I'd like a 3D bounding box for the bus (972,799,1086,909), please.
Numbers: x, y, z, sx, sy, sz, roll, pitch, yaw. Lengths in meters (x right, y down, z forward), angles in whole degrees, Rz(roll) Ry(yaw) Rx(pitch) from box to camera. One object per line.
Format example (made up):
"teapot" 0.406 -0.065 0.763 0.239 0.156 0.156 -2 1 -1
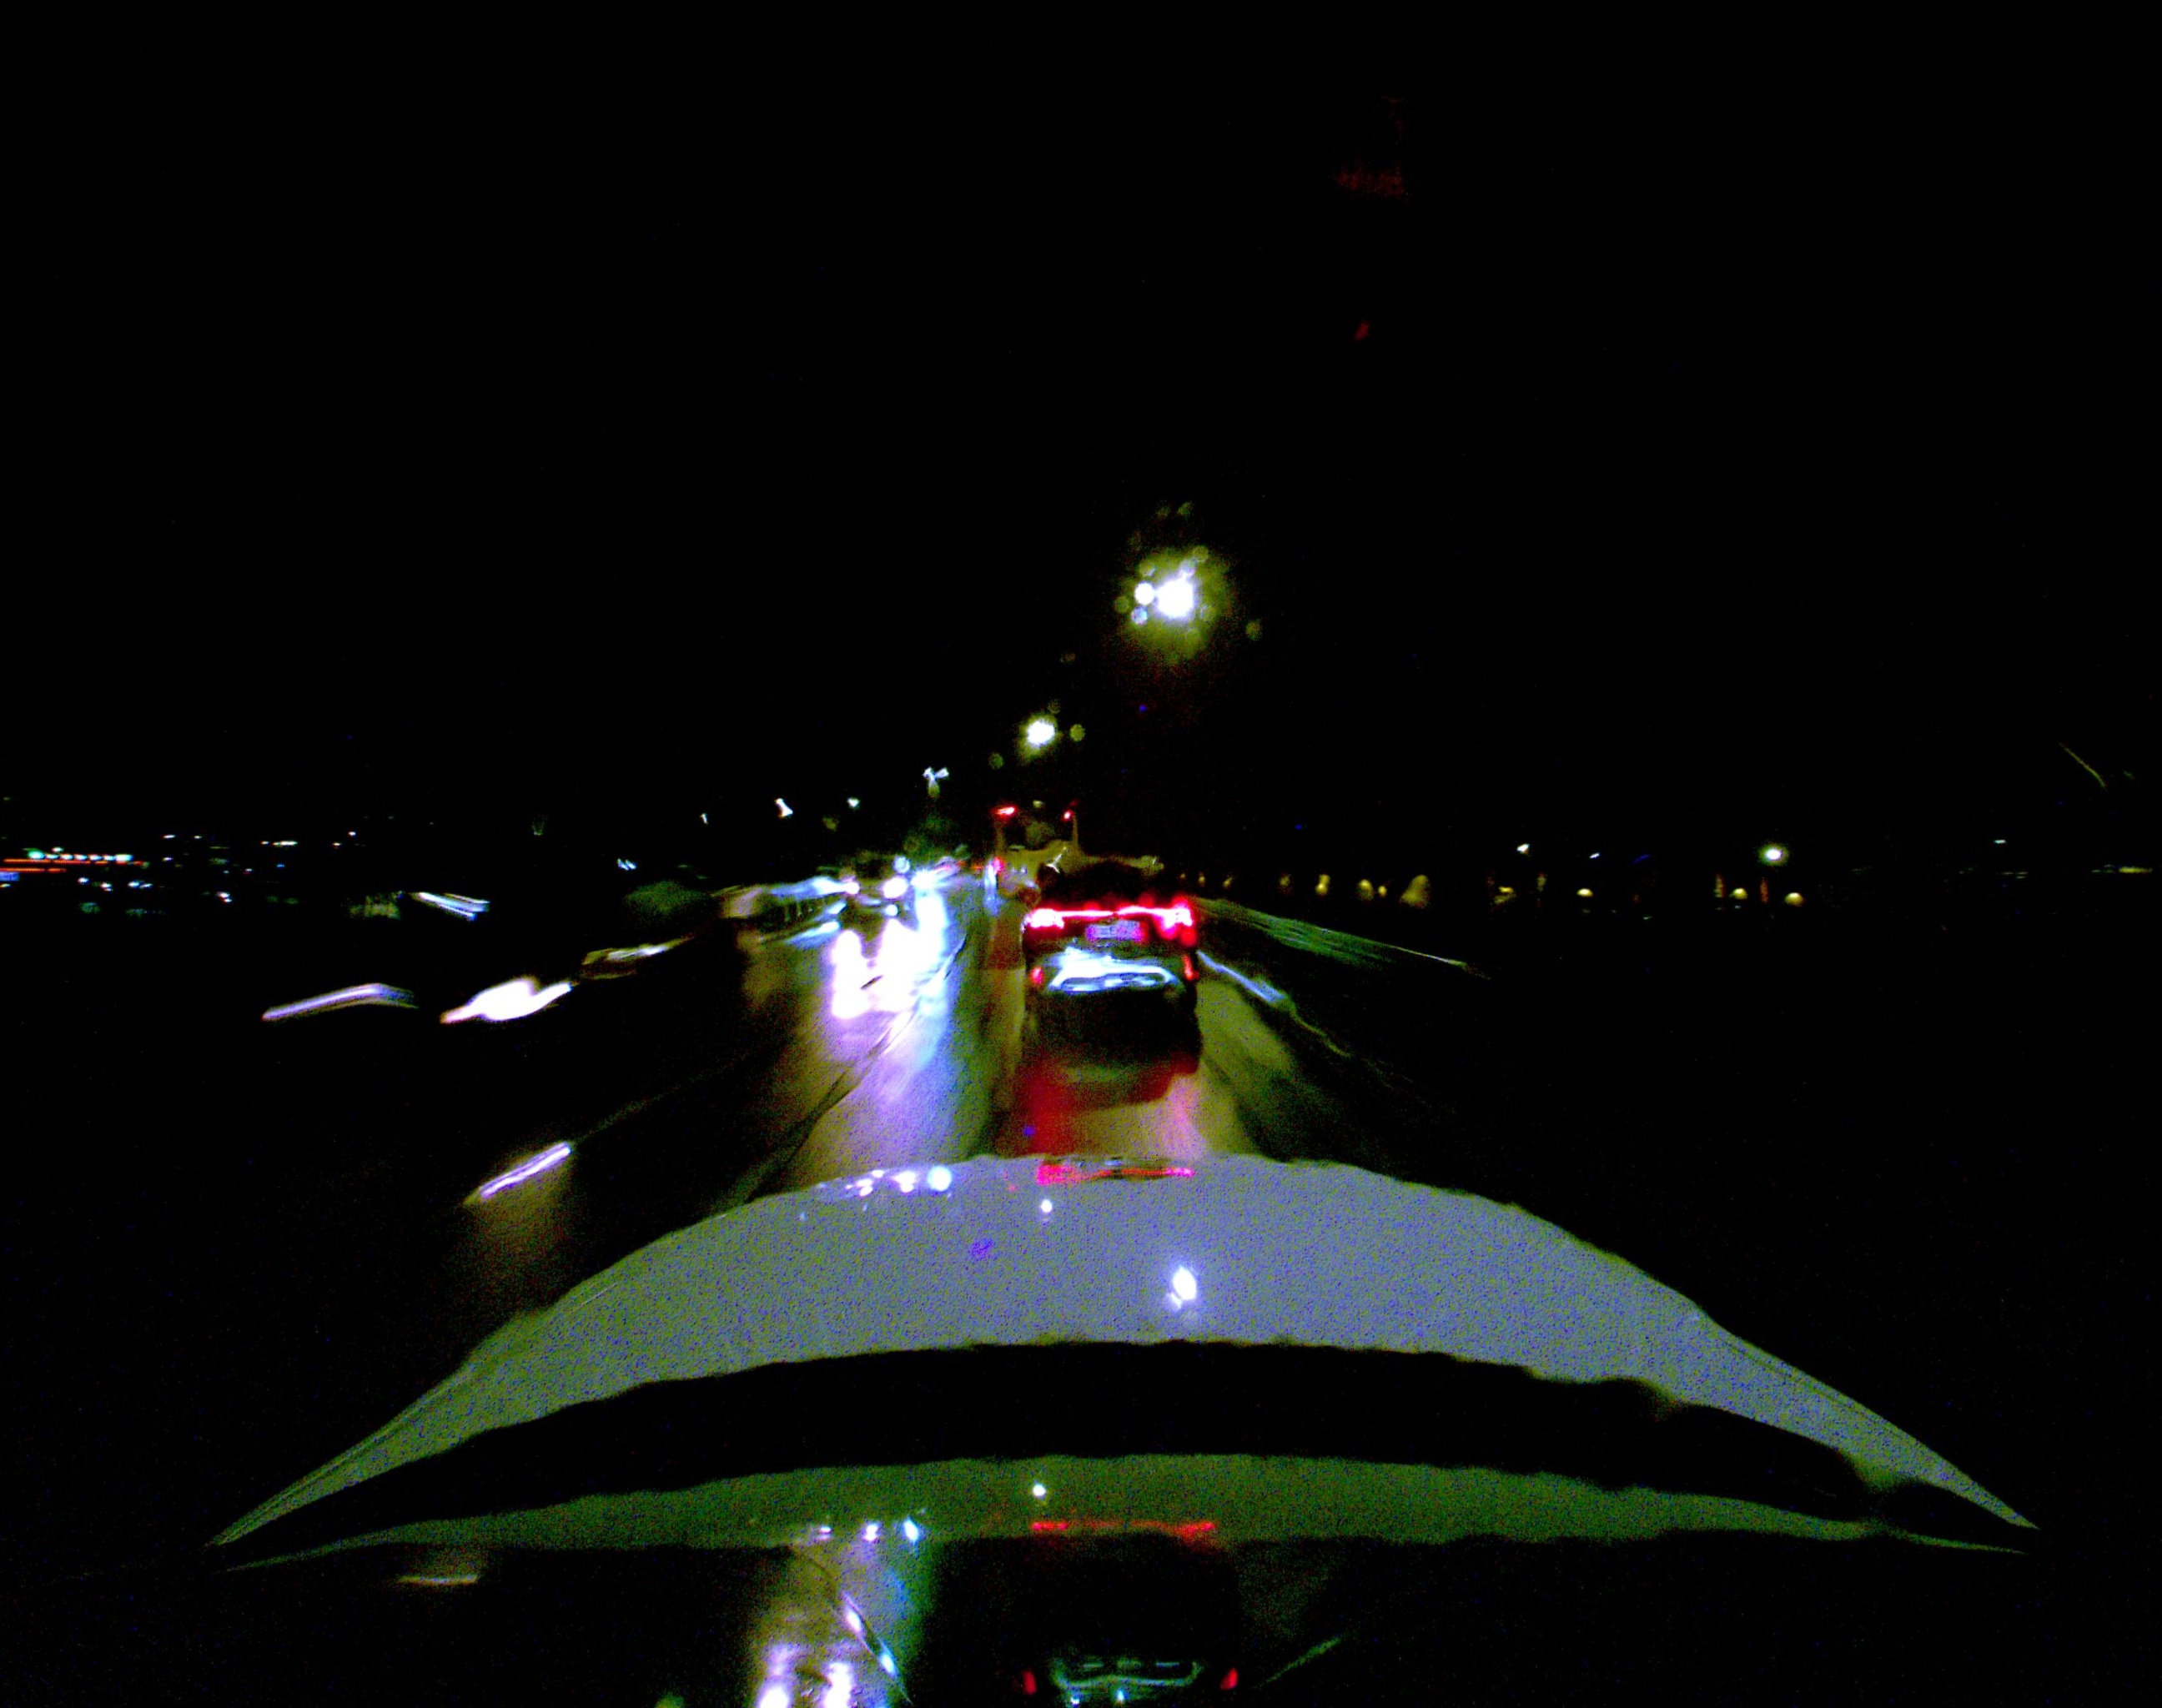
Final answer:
"bus" -2.342 -0.036 30.040 3.082 3.132 12.659 -1 0 -9

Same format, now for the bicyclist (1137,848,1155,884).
"bicyclist" 2.425 0.447 30.357 0.453 1.349 0.761 0 0 -14

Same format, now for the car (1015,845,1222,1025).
"car" 0.219 0.735 9.309 1.852 1.586 3.994 0 -1 -4

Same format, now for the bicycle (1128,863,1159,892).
"bicycle" 2.341 0.871 30.702 0.485 1.034 2.161 0 -1 -14

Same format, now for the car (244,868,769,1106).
"car" -4.508 0.896 7.325 1.809 1.404 4.047 -2 0 0

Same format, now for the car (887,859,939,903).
"car" -7.205 1.091 35.358 2.023 1.719 4.964 -1 0 -10

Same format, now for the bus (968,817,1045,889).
"bus" -3.852 -0.064 40.194 3.049 3.131 8.050 -2 0 -10

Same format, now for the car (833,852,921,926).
"car" -5.741 0.911 23.372 1.751 1.861 3.993 -3 0 -5

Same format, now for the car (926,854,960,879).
"car" -10.043 0.905 58.930 1.642 1.655 3.682 -3 -1 -21
